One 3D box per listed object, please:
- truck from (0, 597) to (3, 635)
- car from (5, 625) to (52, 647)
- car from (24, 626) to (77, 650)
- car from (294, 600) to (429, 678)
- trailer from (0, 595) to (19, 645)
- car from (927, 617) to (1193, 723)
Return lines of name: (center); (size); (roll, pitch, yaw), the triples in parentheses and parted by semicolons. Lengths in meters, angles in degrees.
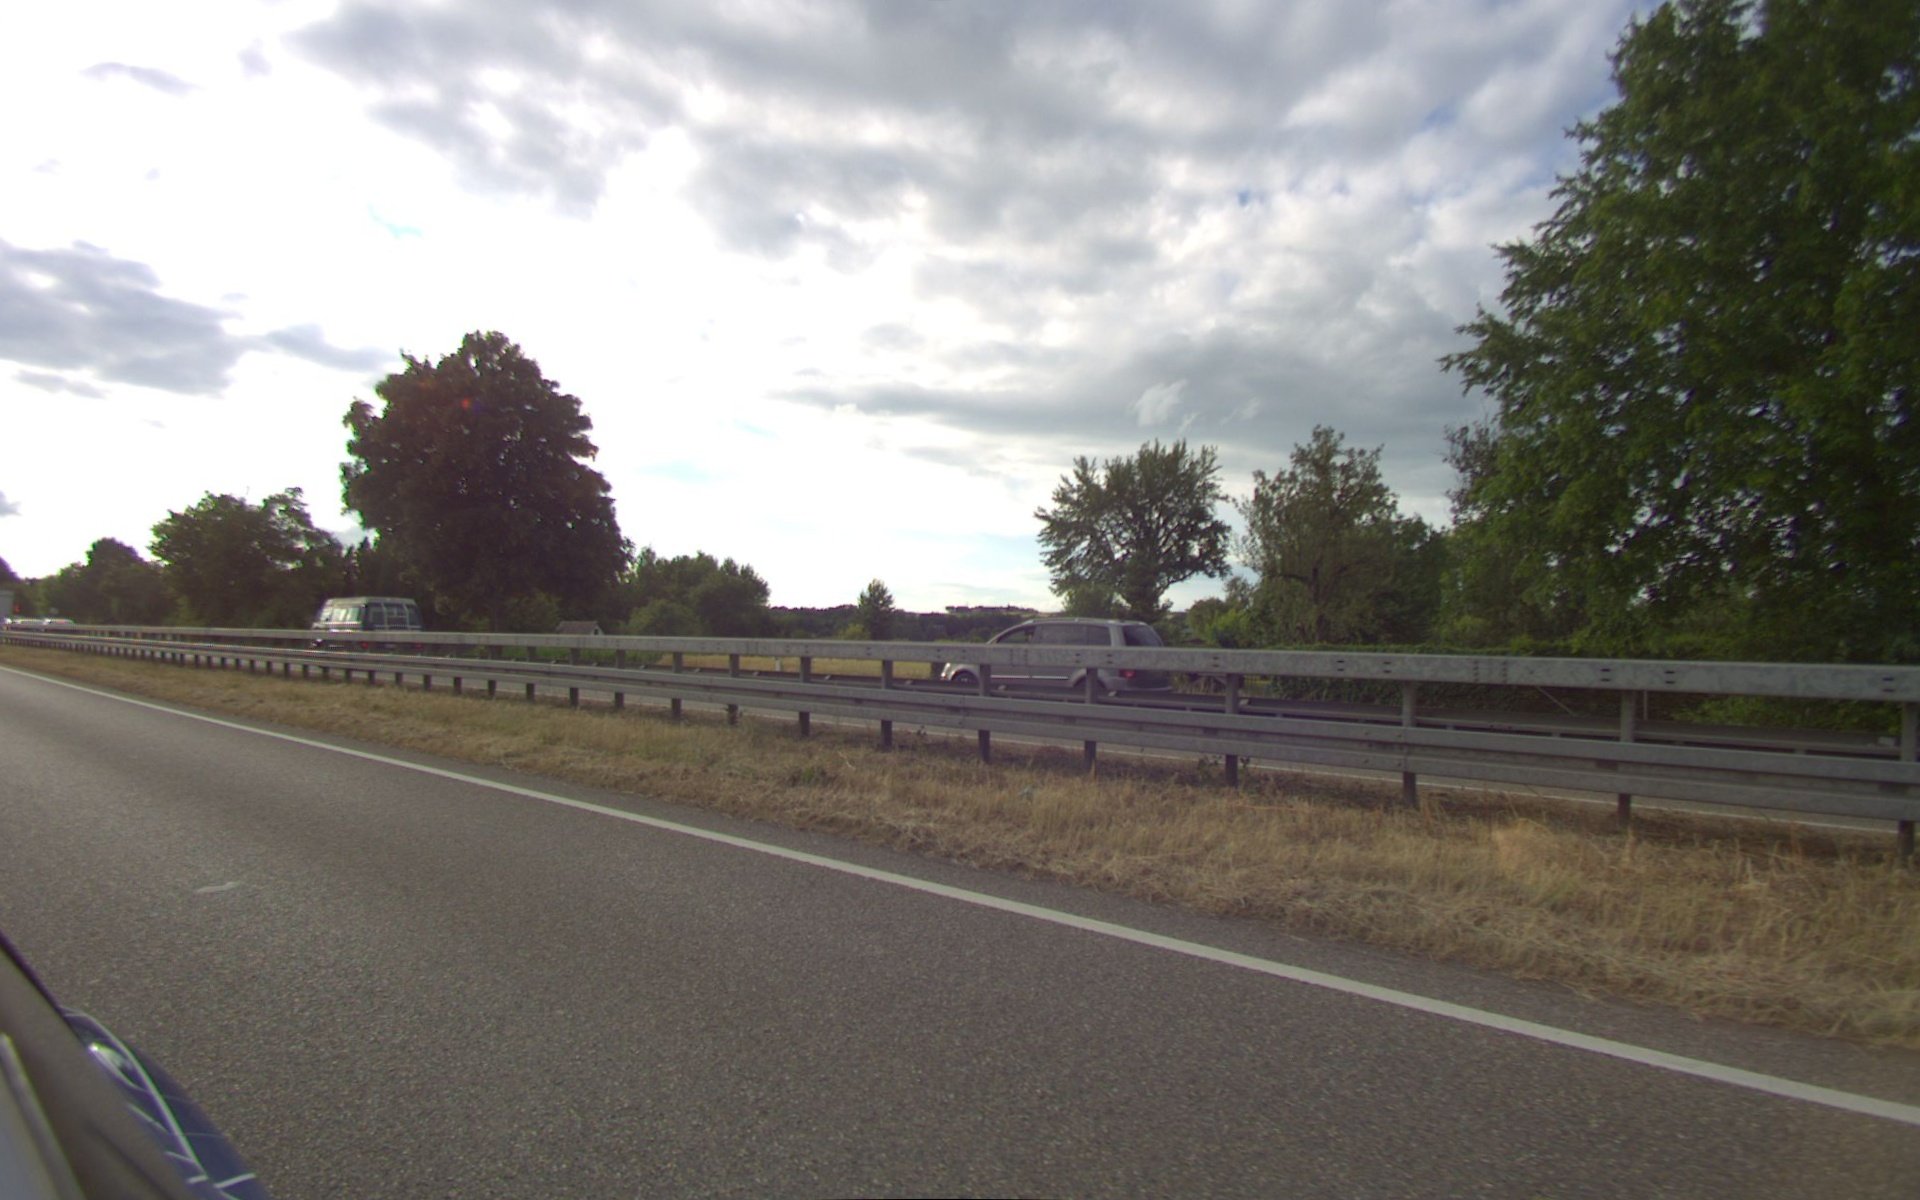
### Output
truck: (-90.213, 1.822, 92.284); (6.045, 4.182, 3.439); (-1, -4, 41)
car: (-67.067, 2.578, 72.845); (4.822, 1.489, 1.847); (-1, -3, 40)
car: (-57.893, 2.408, 64.392); (4.932, 1.489, 1.847); (-1, -3, 40)
car: (-18.150, 1.178, 30.583); (5.317, 2.157, 1.972); (-1, -3, 42)
trailer: (-85.377, 1.721, 88.010); (13.907, 4.182, 3.429); (-1, -4, 41)
car: (1.654, 1.152, 17.828); (4.482, 1.638, 1.778); (-1, -3, 42)
